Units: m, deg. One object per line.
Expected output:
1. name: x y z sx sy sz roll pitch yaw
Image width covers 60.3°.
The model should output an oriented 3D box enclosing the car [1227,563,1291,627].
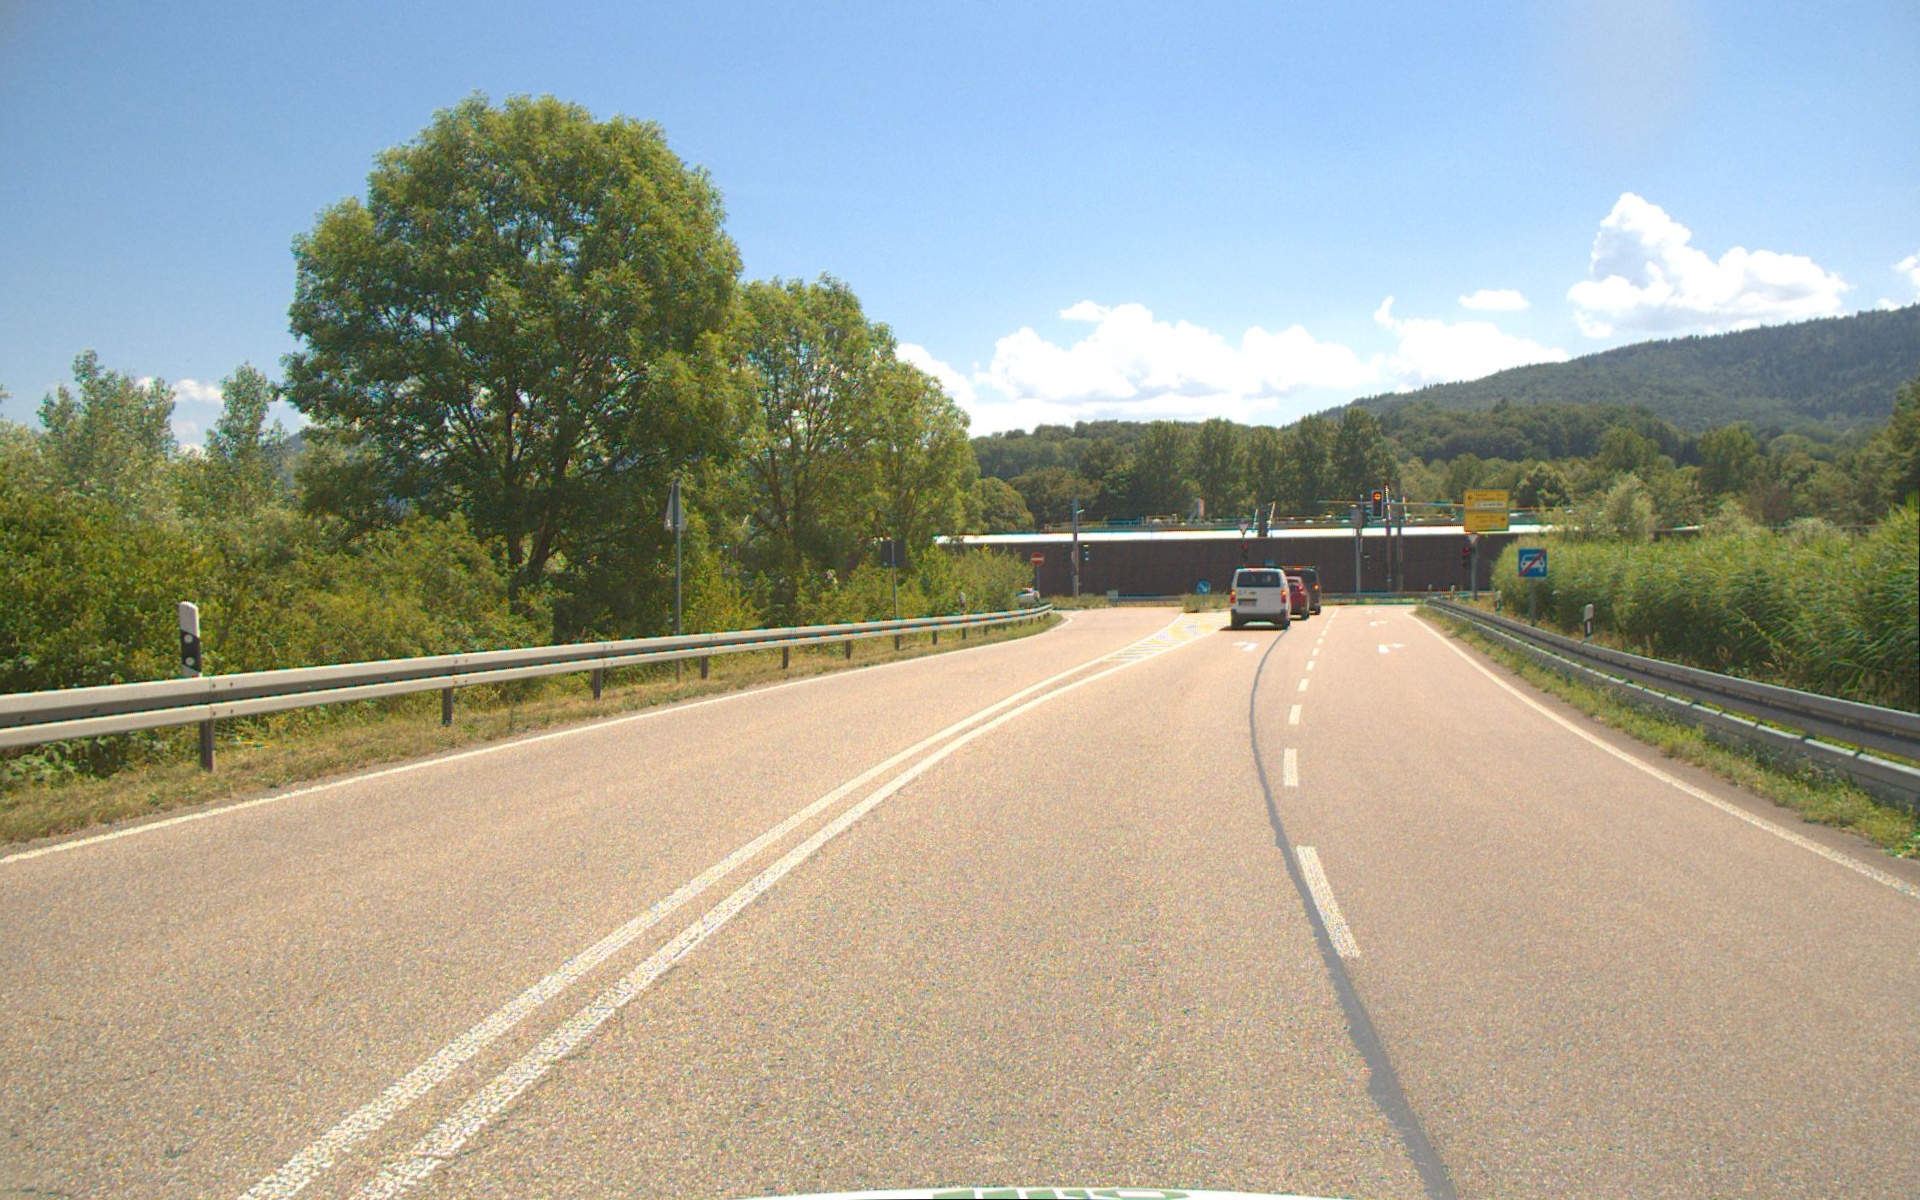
1. car: 9.806 -0.182 54.049 1.830 1.999 4.004 0 1 13

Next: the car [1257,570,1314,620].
1. car: 12.762 -0.212 64.713 1.951 1.844 4.003 -2 0 14

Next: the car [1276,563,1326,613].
1. car: 15.004 -0.546 72.561 1.951 2.048 4.003 -2 0 14
